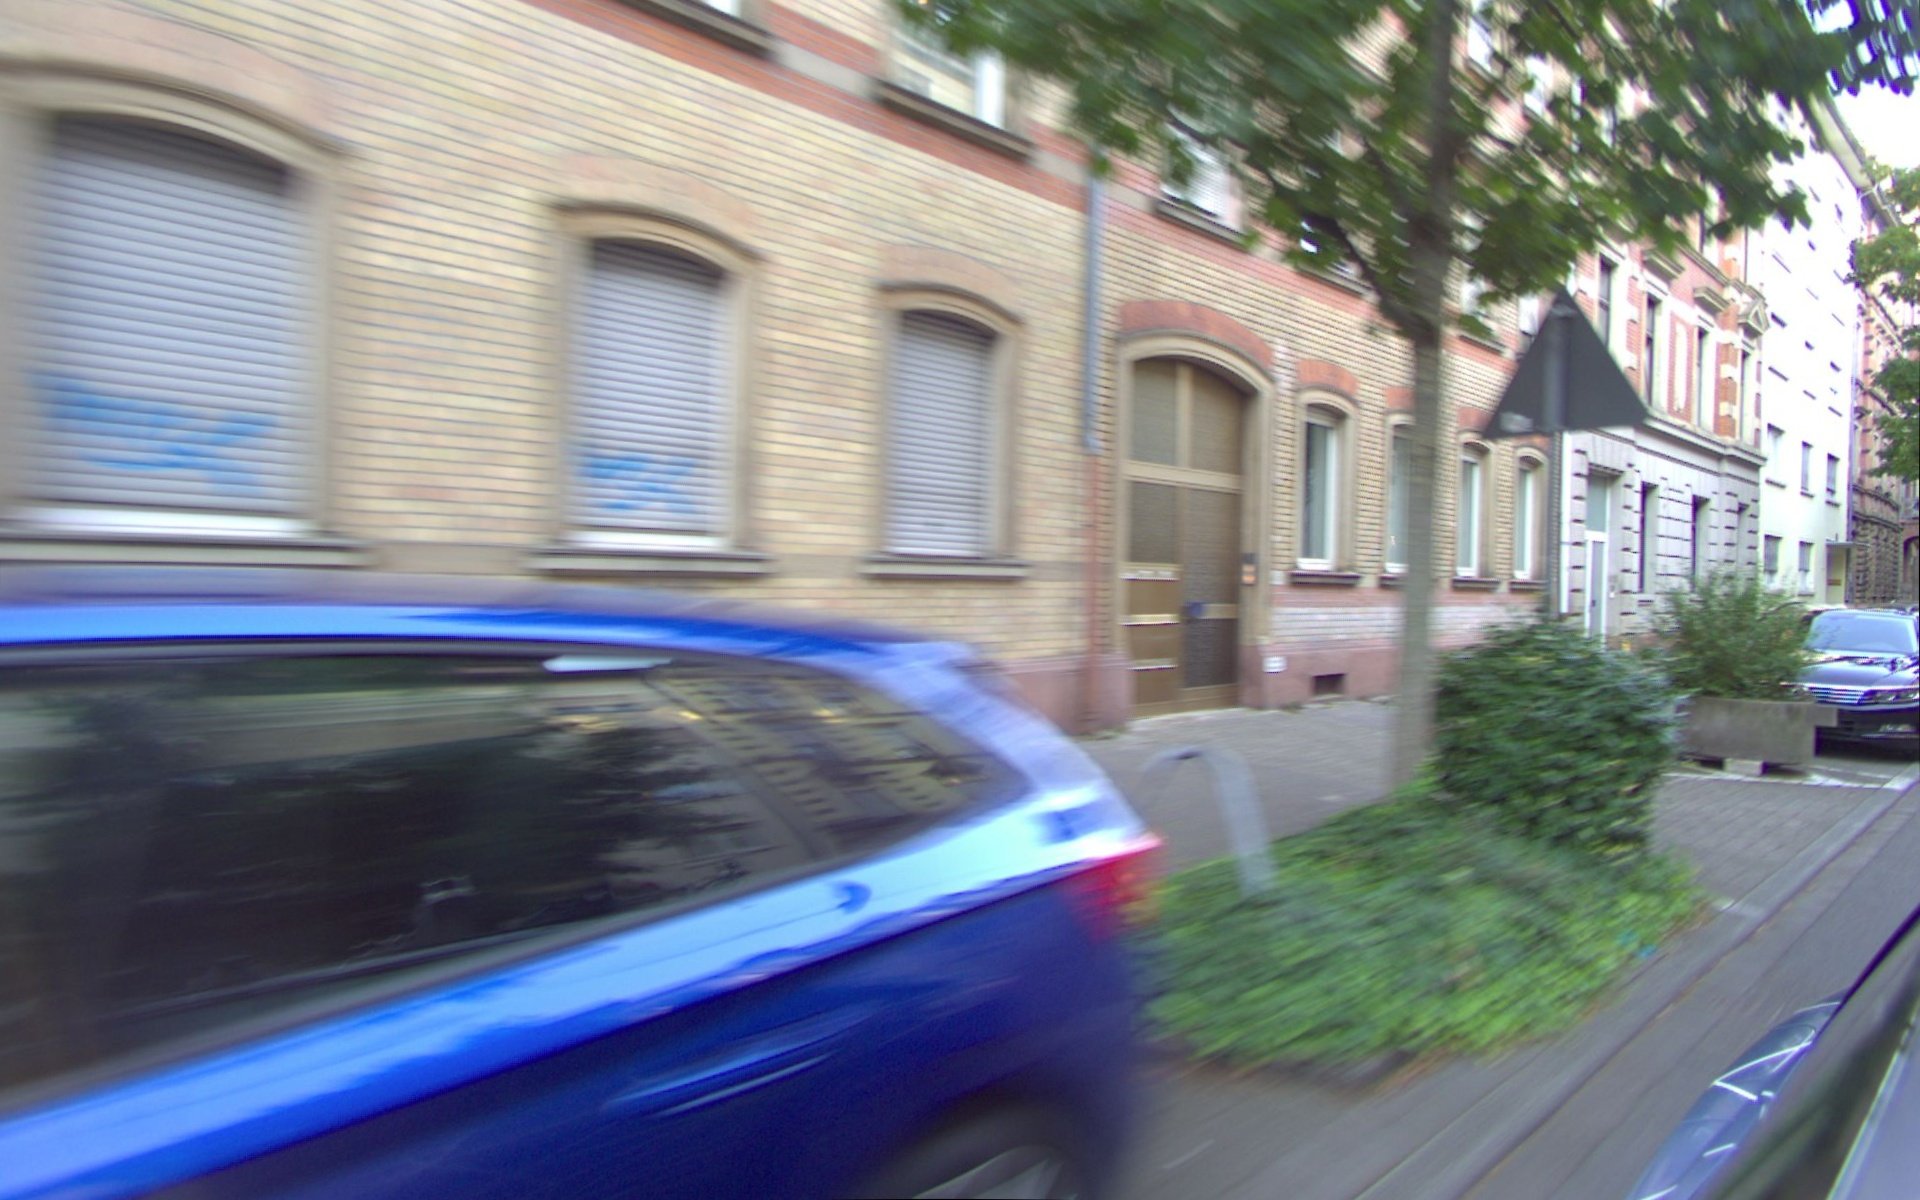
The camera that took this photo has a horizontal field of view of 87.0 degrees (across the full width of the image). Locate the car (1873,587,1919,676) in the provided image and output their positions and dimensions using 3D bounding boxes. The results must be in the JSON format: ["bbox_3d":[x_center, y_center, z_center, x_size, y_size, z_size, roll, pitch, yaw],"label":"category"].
[{"bbox_3d":[18.120,0.556,18.471,4.293,1.494,1.719,0,3,-43],"label":"car"}]

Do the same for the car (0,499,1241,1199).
[{"bbox_3d":[-1.542,0.640,1.156,4.173,1.485,1.630,0,2,-43],"label":"car"}]

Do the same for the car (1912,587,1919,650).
[{"bbox_3d":[24.510,0.462,24.483,4.233,1.481,1.762,0,2,-41],"label":"car"}]

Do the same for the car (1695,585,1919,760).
[{"bbox_3d":[9.513,0.616,10.709,4.394,1.432,1.771,0,3,-40],"label":"car"}]

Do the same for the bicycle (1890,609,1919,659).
[{"bbox_3d":[20.179,0.713,20.448,1.904,0.994,0.632,1,1,29],"label":"bicycle"}]

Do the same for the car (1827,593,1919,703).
[{"bbox_3d":[14.034,0.646,14.765,3.503,1.441,1.638,0,2,-42],"label":"car"}]
